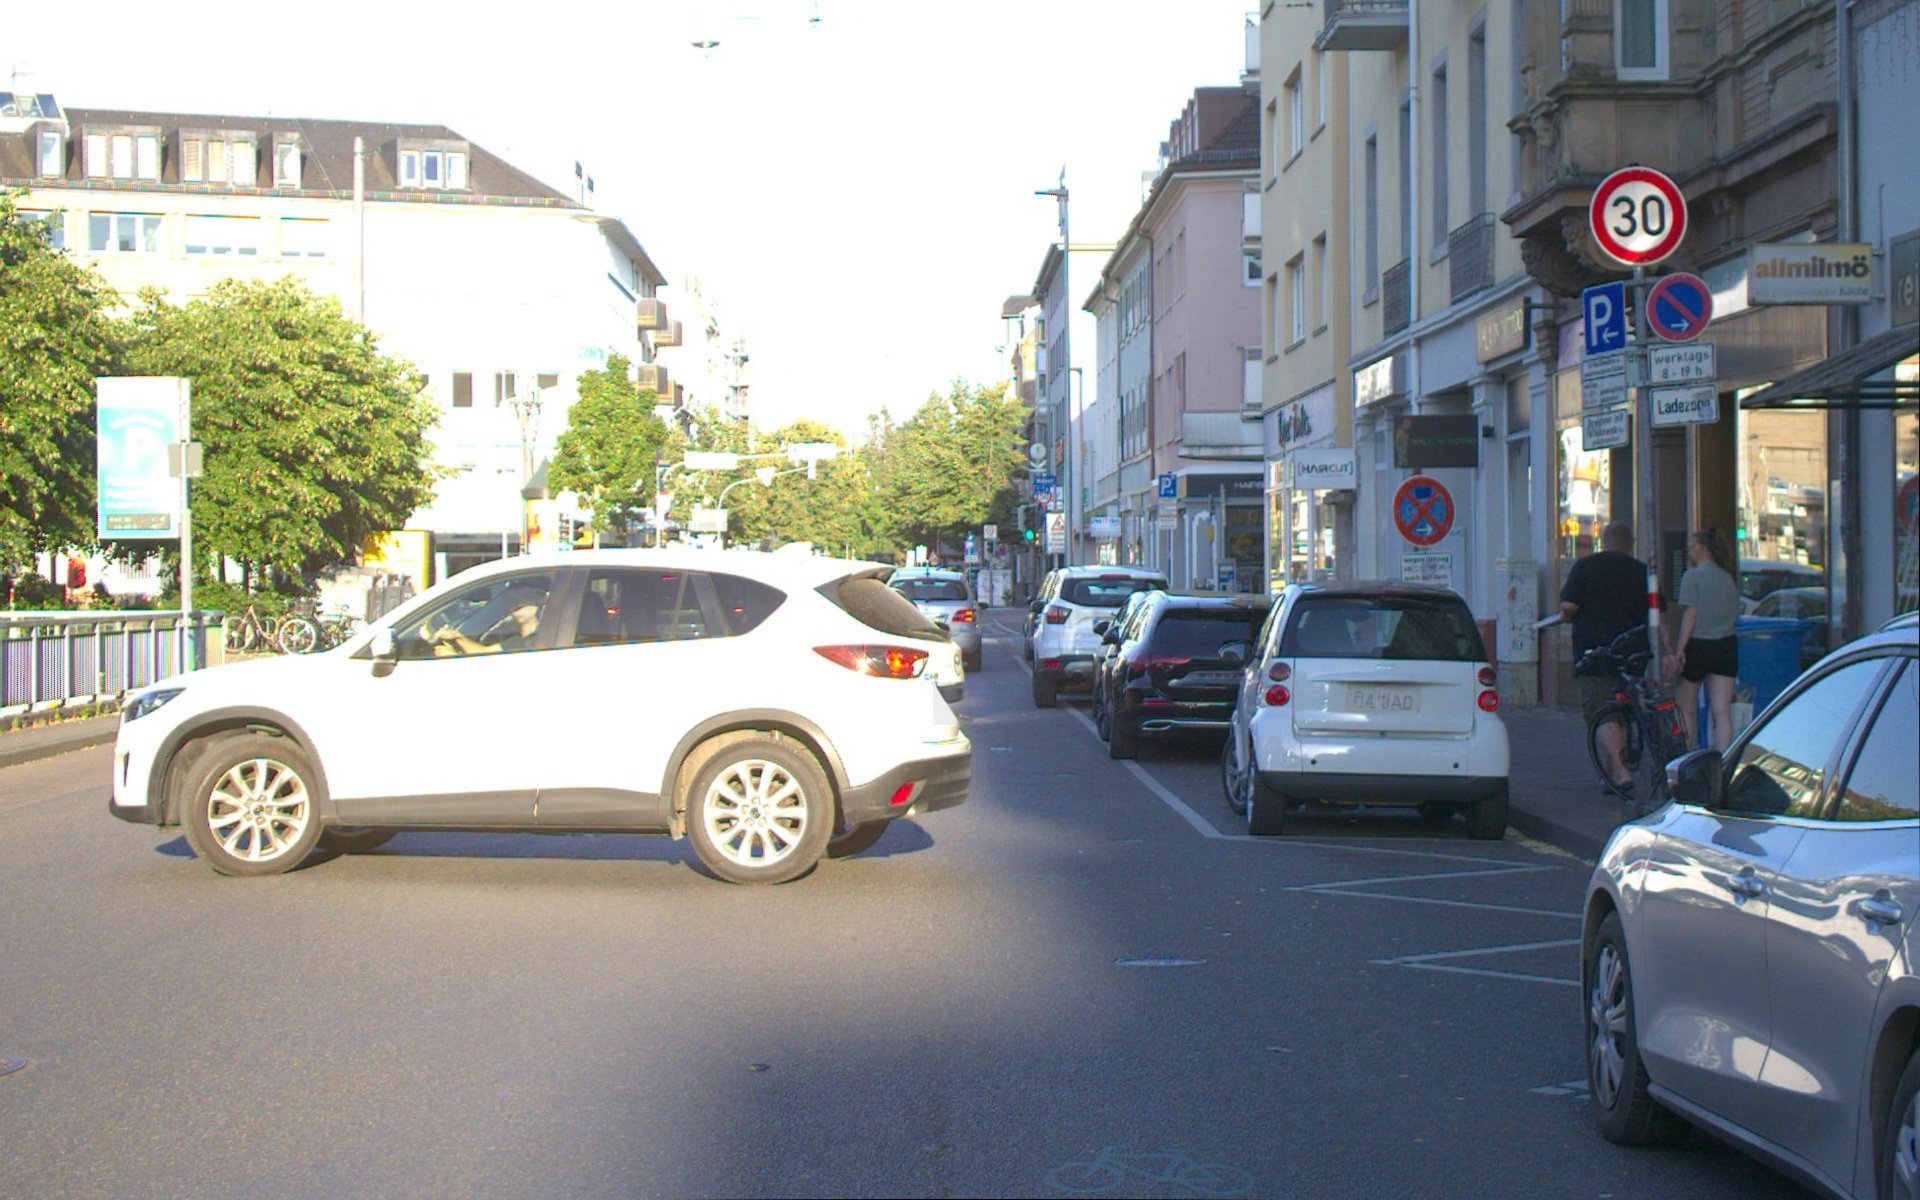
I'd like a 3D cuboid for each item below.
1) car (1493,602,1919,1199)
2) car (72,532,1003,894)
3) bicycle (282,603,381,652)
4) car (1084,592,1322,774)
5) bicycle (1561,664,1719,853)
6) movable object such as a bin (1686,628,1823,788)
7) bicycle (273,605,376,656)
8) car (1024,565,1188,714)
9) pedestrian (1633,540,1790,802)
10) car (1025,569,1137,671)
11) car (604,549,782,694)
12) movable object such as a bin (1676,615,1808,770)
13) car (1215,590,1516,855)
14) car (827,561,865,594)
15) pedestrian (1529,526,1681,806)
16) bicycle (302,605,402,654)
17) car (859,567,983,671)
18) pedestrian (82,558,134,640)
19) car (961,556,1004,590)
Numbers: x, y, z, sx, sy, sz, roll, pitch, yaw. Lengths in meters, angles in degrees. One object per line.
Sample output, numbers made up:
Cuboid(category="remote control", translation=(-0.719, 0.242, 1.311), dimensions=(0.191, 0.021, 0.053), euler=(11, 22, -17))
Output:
Cuboid(category="car", translation=(2.612, 0.813, 7.874), dimensions=(1.759, 1.531, 4.822), euler=(2, 0, -3))
Cuboid(category="car", translation=(-2.140, 0.530, 18.032), dimensions=(4.453, 1.755, 1.999), euler=(0, 1, 11))
Cuboid(category="bicycle", translation=(-12.285, 0.529, 67.238), dimensions=(1.825, 0.850, 0.484), euler=(3, 0, -4))
Cuboid(category="car", translation=(2.093, 0.689, 30.781), dimensions=(1.730, 1.443, 4.524), euler=(2, 0, 0))
Cuboid(category="bicycle", translation=(4.041, 0.919, 20.527), dimensions=(0.504, 1.012, 1.947), euler=(0, 1, -2))
Cuboid(category="movable object such as a bin", translation=(5.549, 0.750, 24.028), dimensions=(0.774, 1.066, 0.618), euler=(-2, 1, -1))
Cuboid(category="bicycle", translation=(-11.926, 0.574, 64.526), dimensions=(1.825, 0.850, 0.484), euler=(3, 0, -4))
Cuboid(category="car", translation=(1.725, 0.454, 41.864), dimensions=(1.730, 1.645, 4.284), euler=(2, 0, 0))
Cuboid(category="pedestrian", translation=(5.043, 0.457, 23.113), dimensions=(0.772, 1.705, 1.042), euler=(-1, 1, -1))
Cuboid(category="car", translation=(2.059, 0.330, 59.355), dimensions=(1.730, 1.646, 3.970), euler=(2, 0, 0))
Cuboid(category="car", translation=(-3.161, 0.226, 41.438), dimensions=(1.896, 1.644, 4.104), euler=(1, 1, -1))
Cuboid(category="movable object such as a bin", translation=(5.620, 0.661, 24.731), dimensions=(0.774, 1.066, 0.618), euler=(-2, 1, -1))
Cuboid(category="car", translation=(2.520, 0.722, 21.999), dimensions=(1.532, 1.531, 3.283), euler=(1, 0, 1))
Cuboid(category="car", translation=(-5.422, -1.073, 164.147), dimensions=(1.779, 1.542, 4.000), euler=(1, 1, -2))
Cuboid(category="pedestrian", translation=(4.323, 0.425, 23.094), dimensions=(0.772, 1.821, 1.011), euler=(-1, 1, -1))
Cuboid(category="bicycle", translation=(-11.730, 0.565, 66.331), dimensions=(1.825, 0.850, 0.484), euler=(3, 0, -4))
Cuboid(category="car", translation=(-0.663, 0.276, 56.233), dimensions=(1.896, 1.576, 4.000), euler=(2, 0, -1))
Cuboid(category="pedestrian", translation=(-16.801, -0.023, 67.793), dimensions=(0.791, 1.589, 0.567), euler=(1, 1, 19))
Cuboid(category="car", translation=(1.022, -1.281, 160.908), dimensions=(1.896, 1.576, 3.852), euler=(0, 1, -1))
